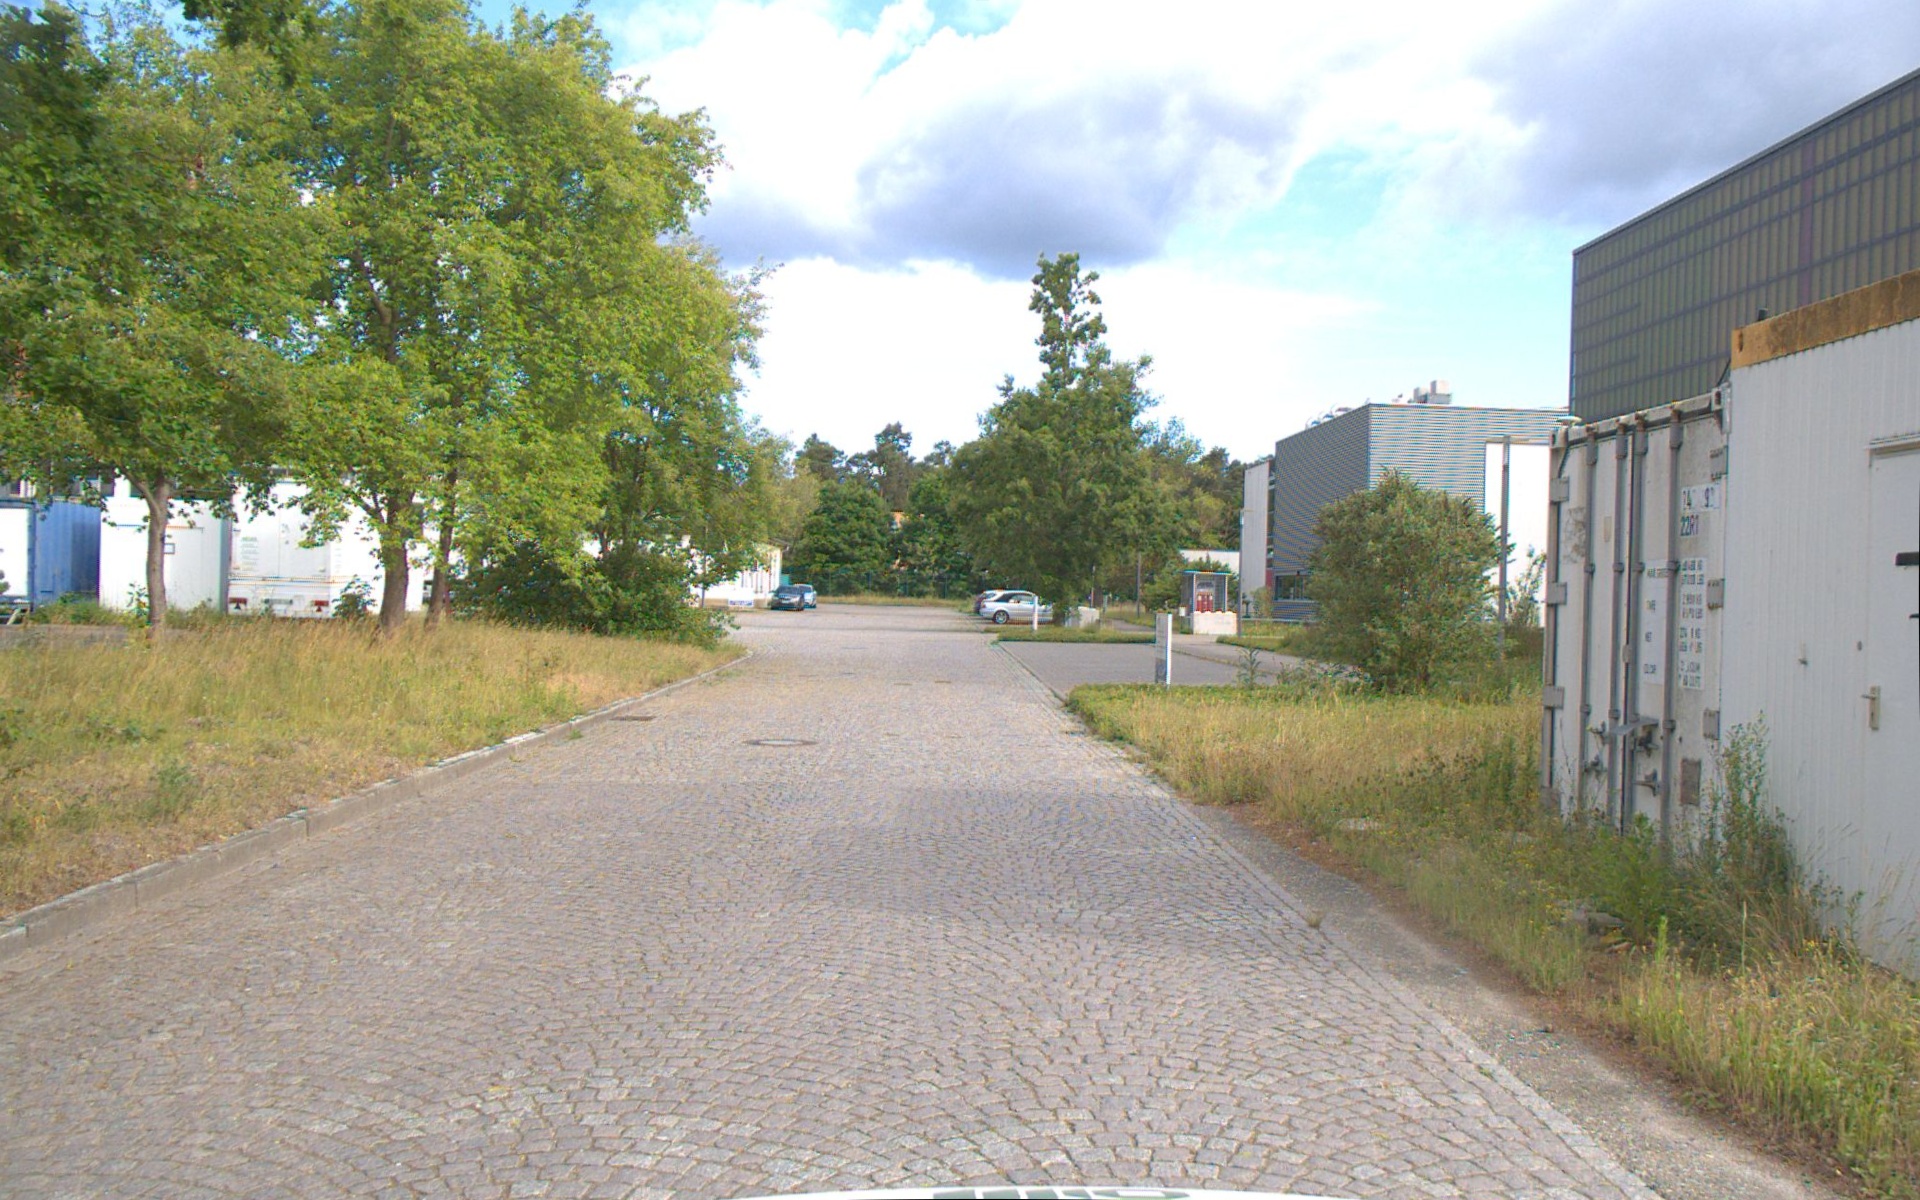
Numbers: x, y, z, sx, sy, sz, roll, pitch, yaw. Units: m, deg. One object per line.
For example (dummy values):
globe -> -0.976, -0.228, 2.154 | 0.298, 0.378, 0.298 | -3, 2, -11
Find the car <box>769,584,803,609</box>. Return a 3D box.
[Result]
car -> -10.096, -0.214, 96.108 | 1.614, 1.393, 3.997 | 2, 0, -1

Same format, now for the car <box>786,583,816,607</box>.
car -> -10.216, -0.339, 106.448 | 1.614, 1.483, 3.997 | 2, 0, -1

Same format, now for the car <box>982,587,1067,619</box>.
car -> 2.994, 0.138, 77.577 | 3.903, 1.473, 1.653 | 0, 0, -1

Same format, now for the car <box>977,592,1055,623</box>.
car -> 2.521, 0.326, 74.871 | 3.451, 1.386, 1.622 | 0, 0, -1

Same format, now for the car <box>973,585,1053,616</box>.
car -> 2.647, 0.033, 82.701 | 3.903, 1.501, 1.653 | -1, 0, -1

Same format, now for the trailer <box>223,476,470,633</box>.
trailer -> -16.065, -1.112, 44.304 | 2.571, 3.660, 10.178 | 2, 0, 1
